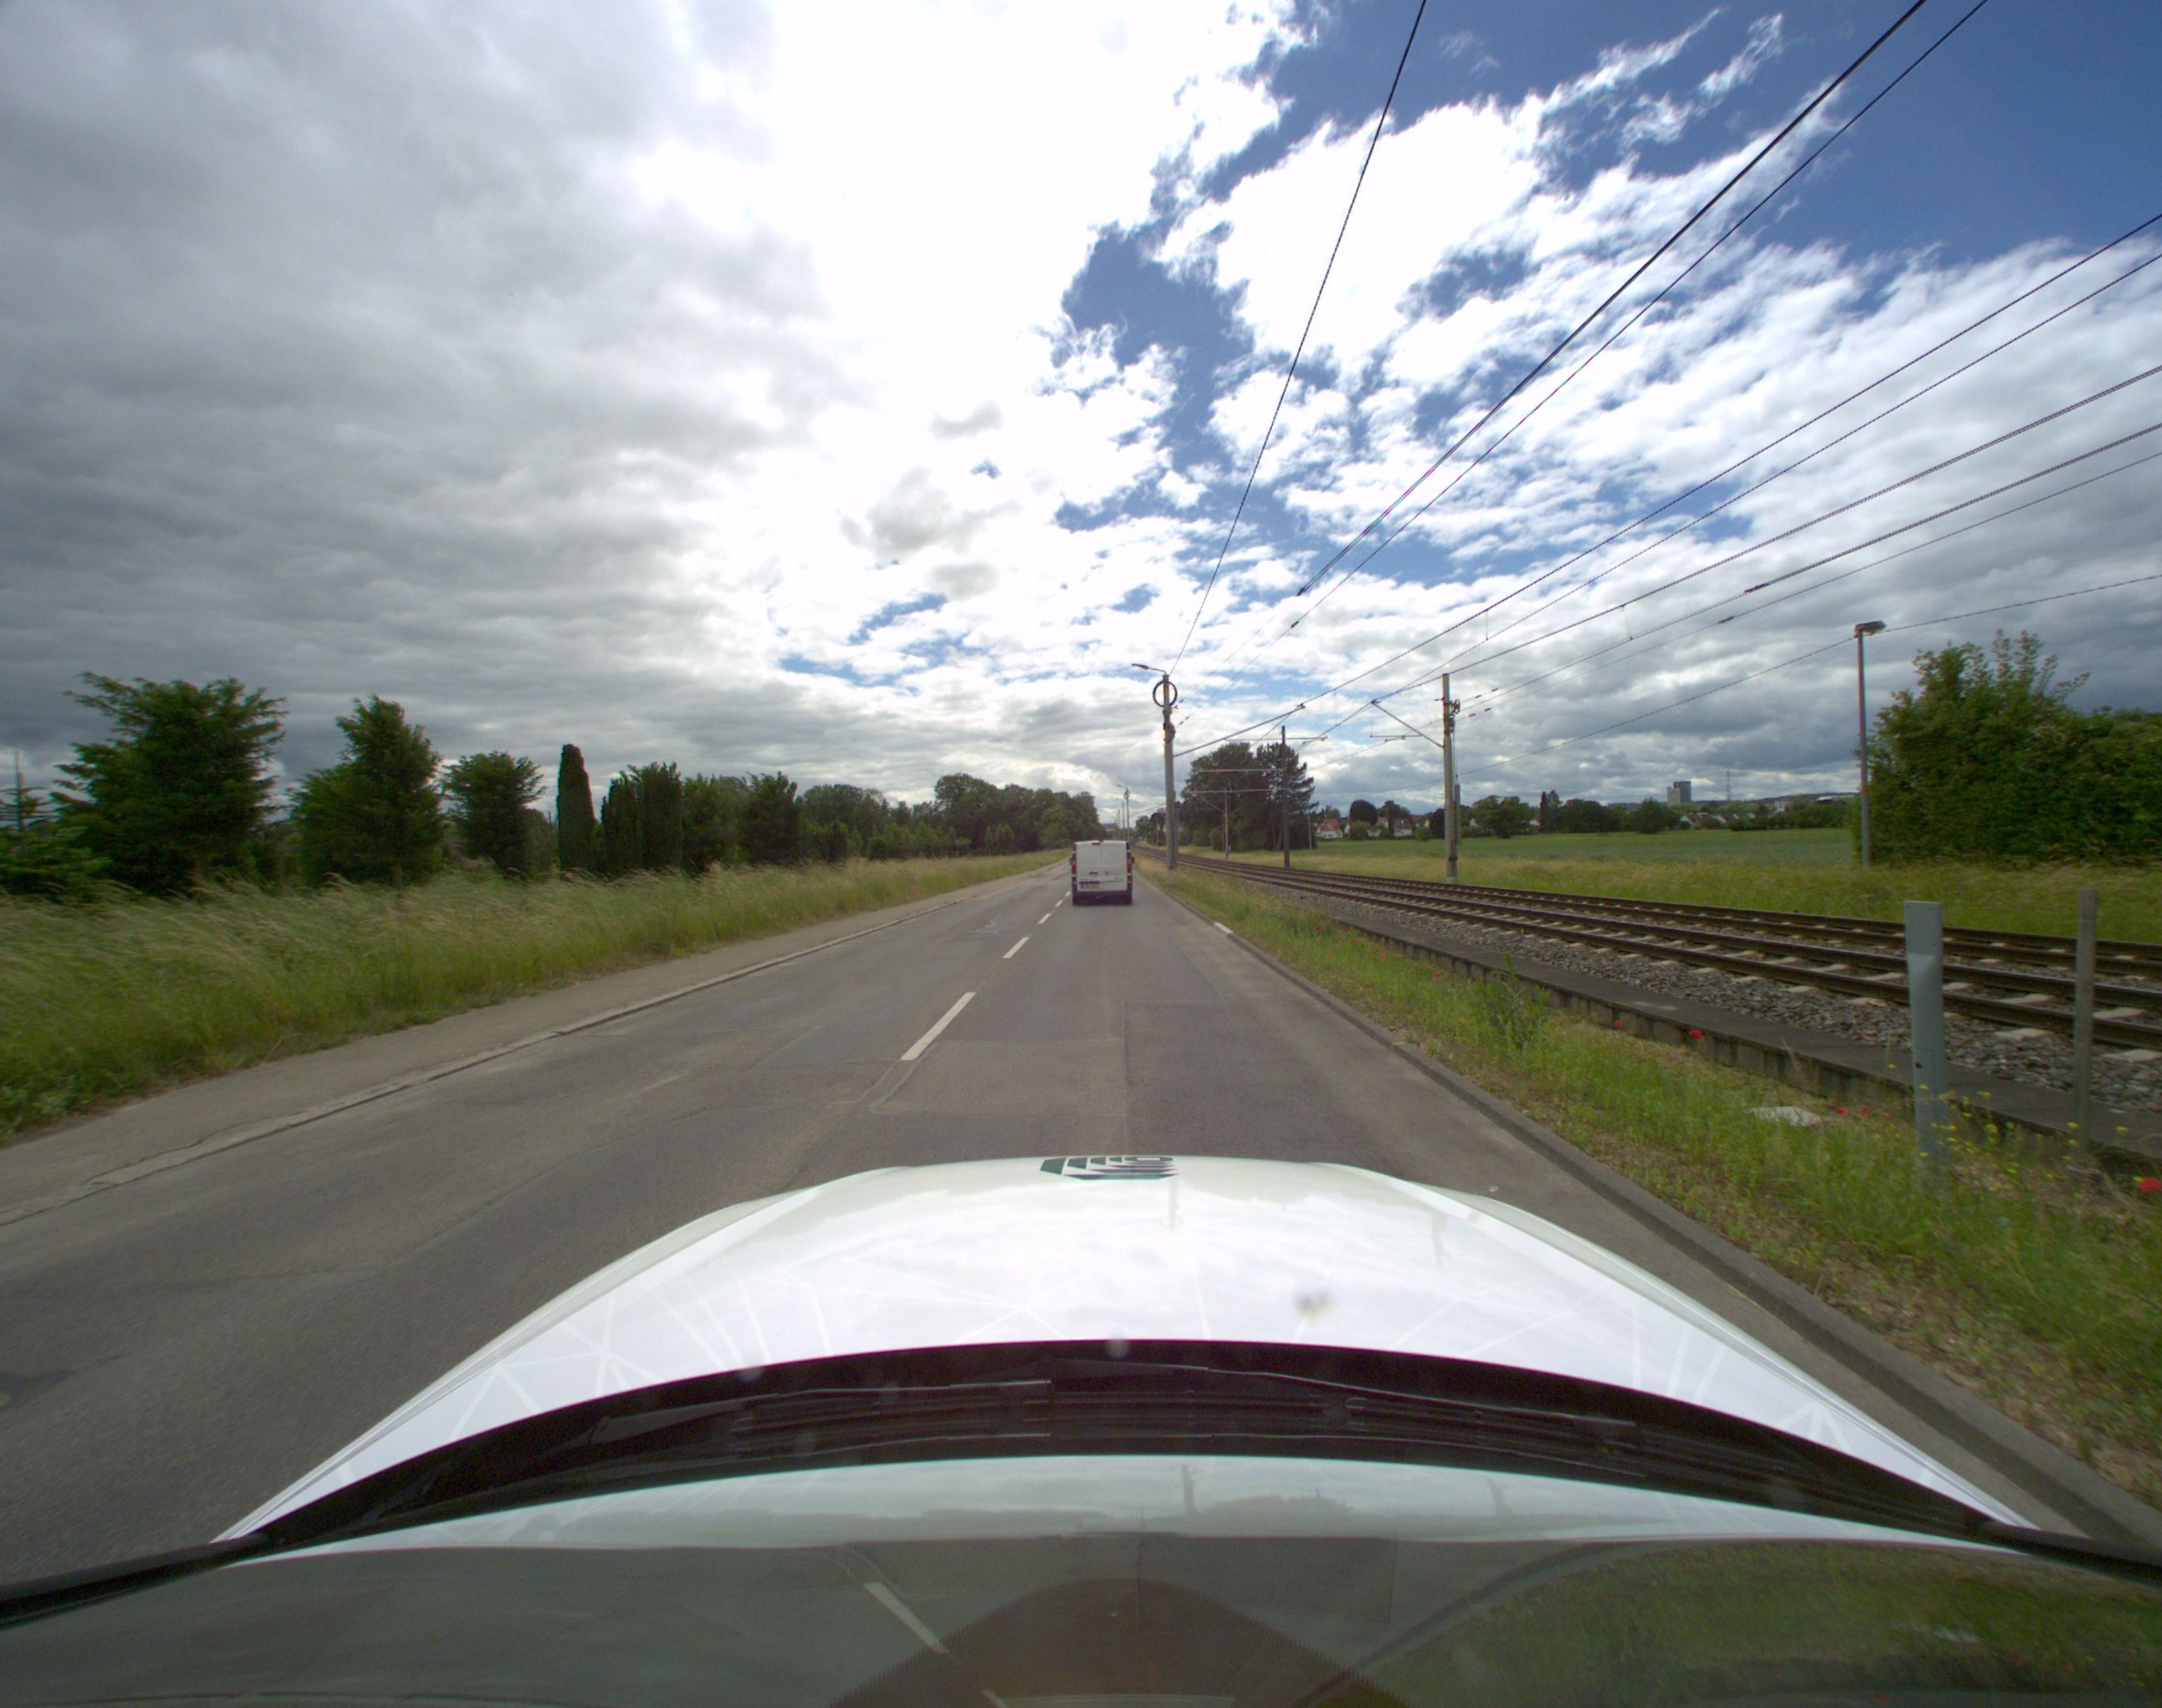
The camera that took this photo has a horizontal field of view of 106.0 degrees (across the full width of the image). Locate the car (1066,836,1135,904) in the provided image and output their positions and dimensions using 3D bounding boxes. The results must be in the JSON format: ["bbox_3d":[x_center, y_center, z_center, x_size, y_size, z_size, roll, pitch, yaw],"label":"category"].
[{"bbox_3d":[0.613,0.475,26.107,1.987,1.957,4.000,-1,0,1],"label":"car"}]
